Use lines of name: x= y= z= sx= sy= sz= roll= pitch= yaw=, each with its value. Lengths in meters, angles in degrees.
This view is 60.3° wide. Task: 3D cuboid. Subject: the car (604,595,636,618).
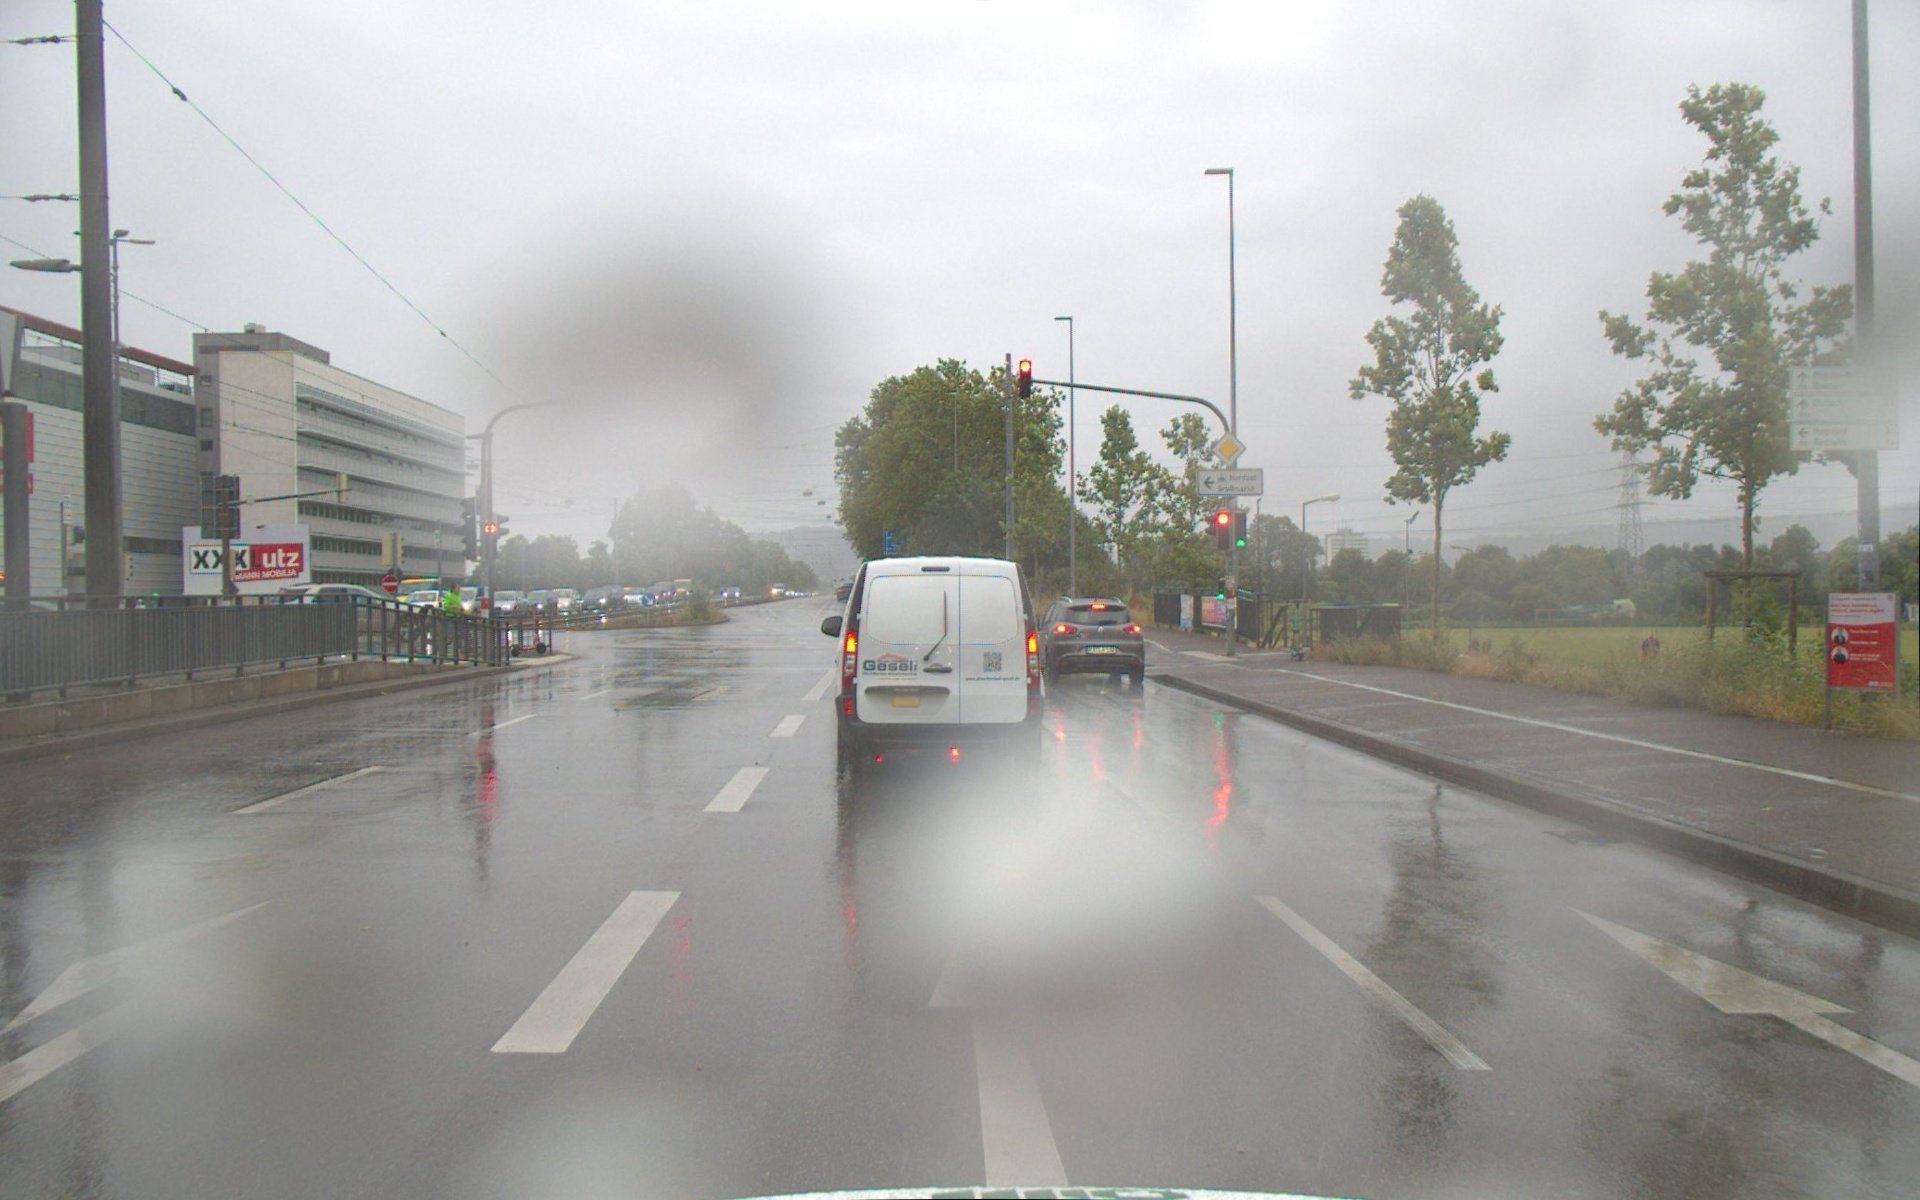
car: x=-23.309 y=0.453 z=113.547 sx=1.528 sy=1.451 sz=3.567 roll=2 pitch=-1 yaw=-2

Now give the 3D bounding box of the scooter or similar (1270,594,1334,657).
scooter or similar: x=7.042 y=0.506 z=34.228 sx=0.676 sy=1.232 sz=3.019 roll=-1 pitch=0 yaw=0

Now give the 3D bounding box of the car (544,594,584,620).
car: x=-23.333 y=0.417 z=97.473 sx=1.528 sy=1.451 sz=3.567 roll=2 pitch=-1 yaw=-2

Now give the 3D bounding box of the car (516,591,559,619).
car: x=-23.220 y=0.279 z=90.989 sx=1.528 sy=1.451 sz=3.567 roll=2 pitch=-1 yaw=-2

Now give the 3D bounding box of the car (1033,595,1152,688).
car: x=2.311 y=0.704 z=29.673 sx=1.650 sy=1.534 sz=3.919 roll=1 pitch=0 yaw=-2

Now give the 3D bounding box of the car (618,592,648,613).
car: x=-24.201 y=0.216 z=122.396 sx=1.528 sy=1.451 sz=3.567 roll=2 pitch=-1 yaw=-2

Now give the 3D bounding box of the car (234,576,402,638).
car: x=-19.122 y=0.231 z=49.274 sx=4.402 sy=1.691 sz=1.934 roll=2 pitch=-2 yaw=-30

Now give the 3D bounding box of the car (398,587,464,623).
car: x=-22.600 y=0.232 z=70.782 sx=1.676 sy=1.451 sz=3.807 roll=2 pitch=-1 yaw=-2

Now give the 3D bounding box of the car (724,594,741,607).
car: x=-26.164 y=0.077 z=190.224 sx=1.528 sy=1.451 sz=3.567 roll=2 pitch=-1 yaw=-2

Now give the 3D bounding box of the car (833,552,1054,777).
car: x=-0.283 y=0.486 z=15.252 sx=1.720 sy=1.780 sz=4.165 roll=0 pitch=1 yaw=-5

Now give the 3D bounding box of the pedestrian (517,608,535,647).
pedestrian: x=-10.353 y=0.661 z=39.449 sx=0.309 sy=0.913 sz=0.380 roll=2 pitch=0 yaw=-4

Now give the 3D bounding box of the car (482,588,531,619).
car: x=-22.980 y=0.191 z=83.915 sx=1.528 sy=1.451 sz=3.567 roll=2 pitch=-1 yaw=-2

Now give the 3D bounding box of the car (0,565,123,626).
car: x=-24.243 y=-0.129 z=42.948 sx=4.111 sy=1.476 sz=1.712 roll=2 pitch=-1 yaw=-12

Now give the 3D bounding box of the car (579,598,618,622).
car: x=-22.884 y=0.638 z=104.798 sx=1.676 sy=1.451 sz=3.807 roll=2 pitch=-1 yaw=-2
